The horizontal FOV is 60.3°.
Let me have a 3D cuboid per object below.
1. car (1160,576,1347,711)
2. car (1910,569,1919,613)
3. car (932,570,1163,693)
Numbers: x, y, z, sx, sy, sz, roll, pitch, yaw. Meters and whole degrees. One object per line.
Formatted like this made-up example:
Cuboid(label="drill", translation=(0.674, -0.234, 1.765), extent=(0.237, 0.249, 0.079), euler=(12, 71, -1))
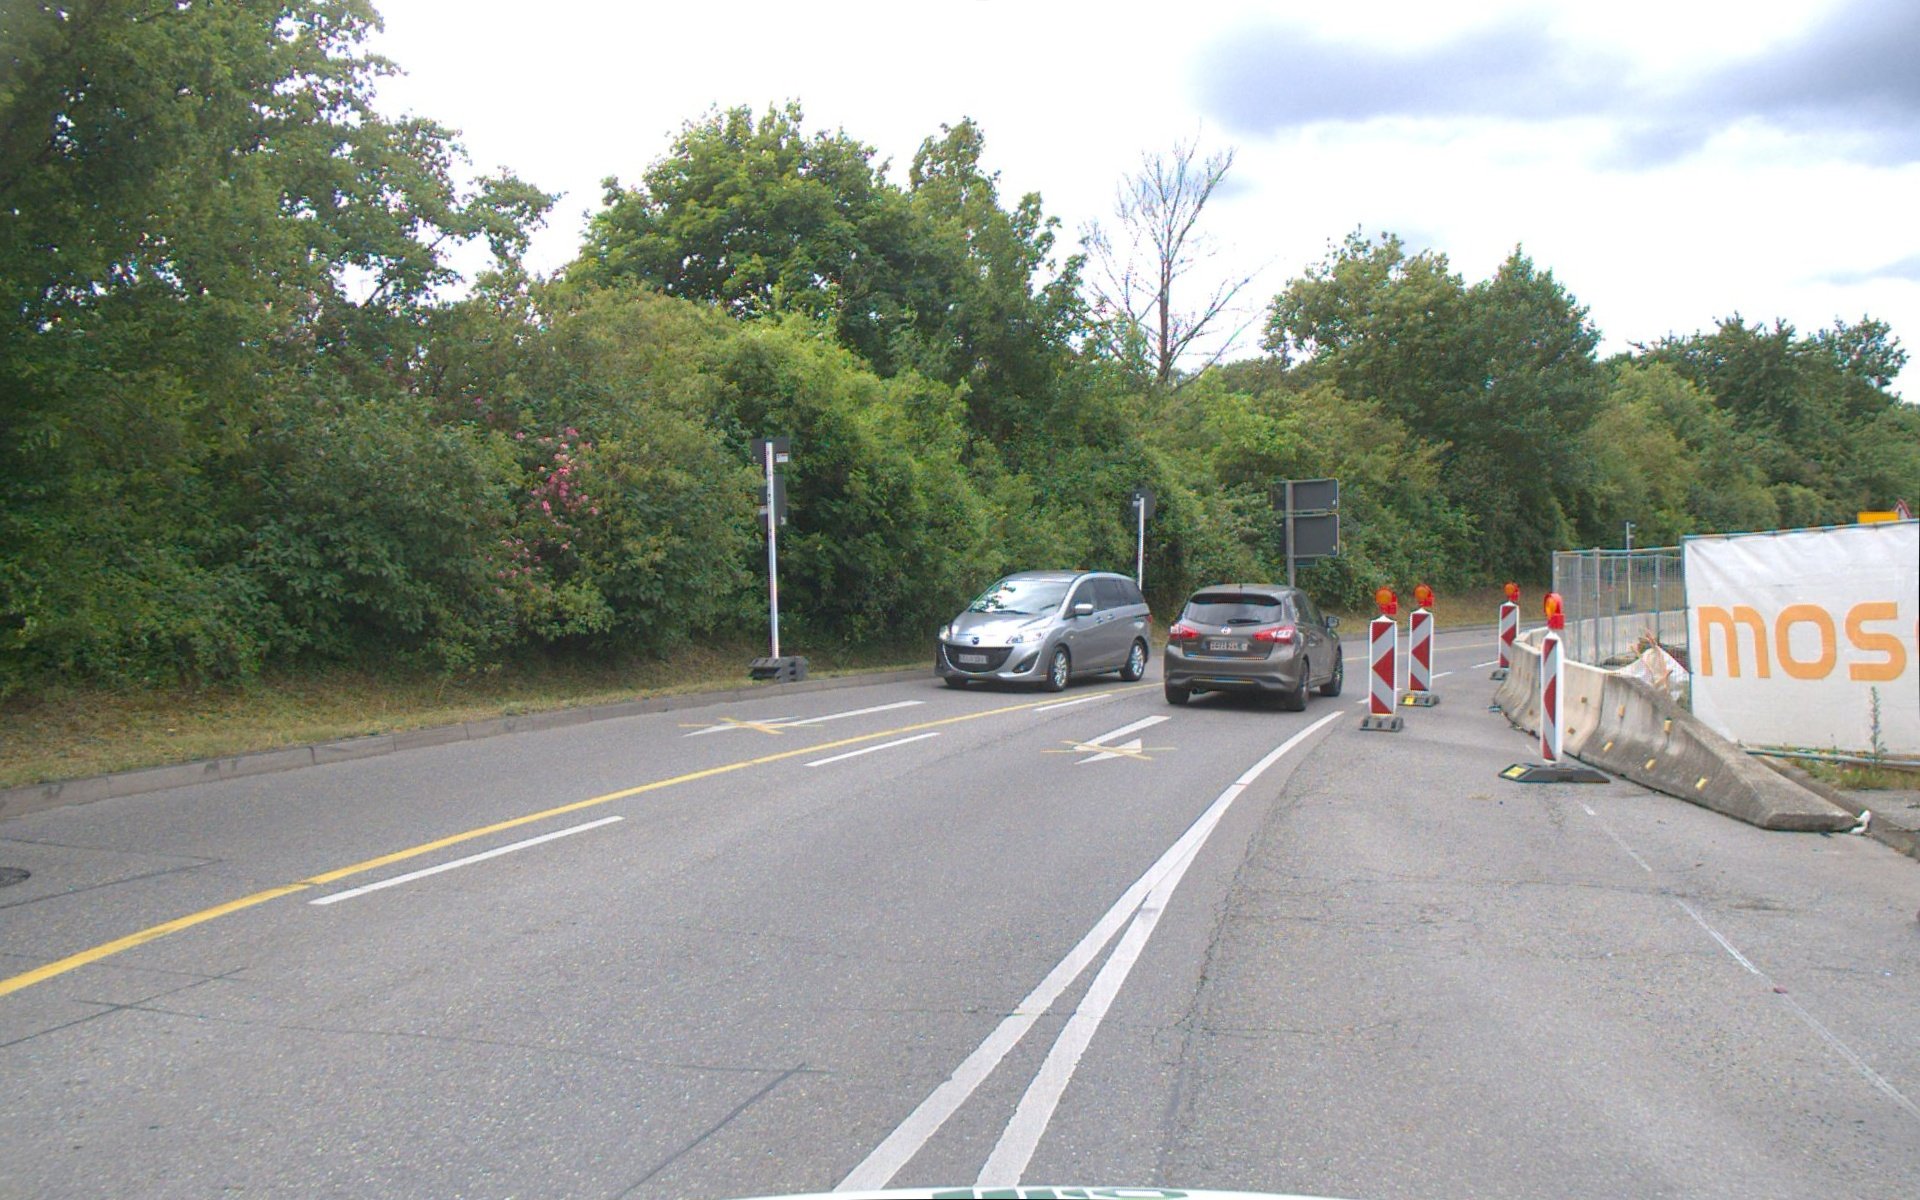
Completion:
Cuboid(label="car", translation=(3.963, 0.488, 21.837), extent=(1.760, 1.579, 4.001), euler=(1, 1, 20))
Cuboid(label="car", translation=(38.785, -0.391, 65.636), extent=(1.681, 1.704, 3.989), euler=(-2, -1, 33))
Cuboid(label="car", translation=(1.358, 0.395, 23.628), extent=(1.601, 1.572, 4.344), euler=(1, 0, 28))
